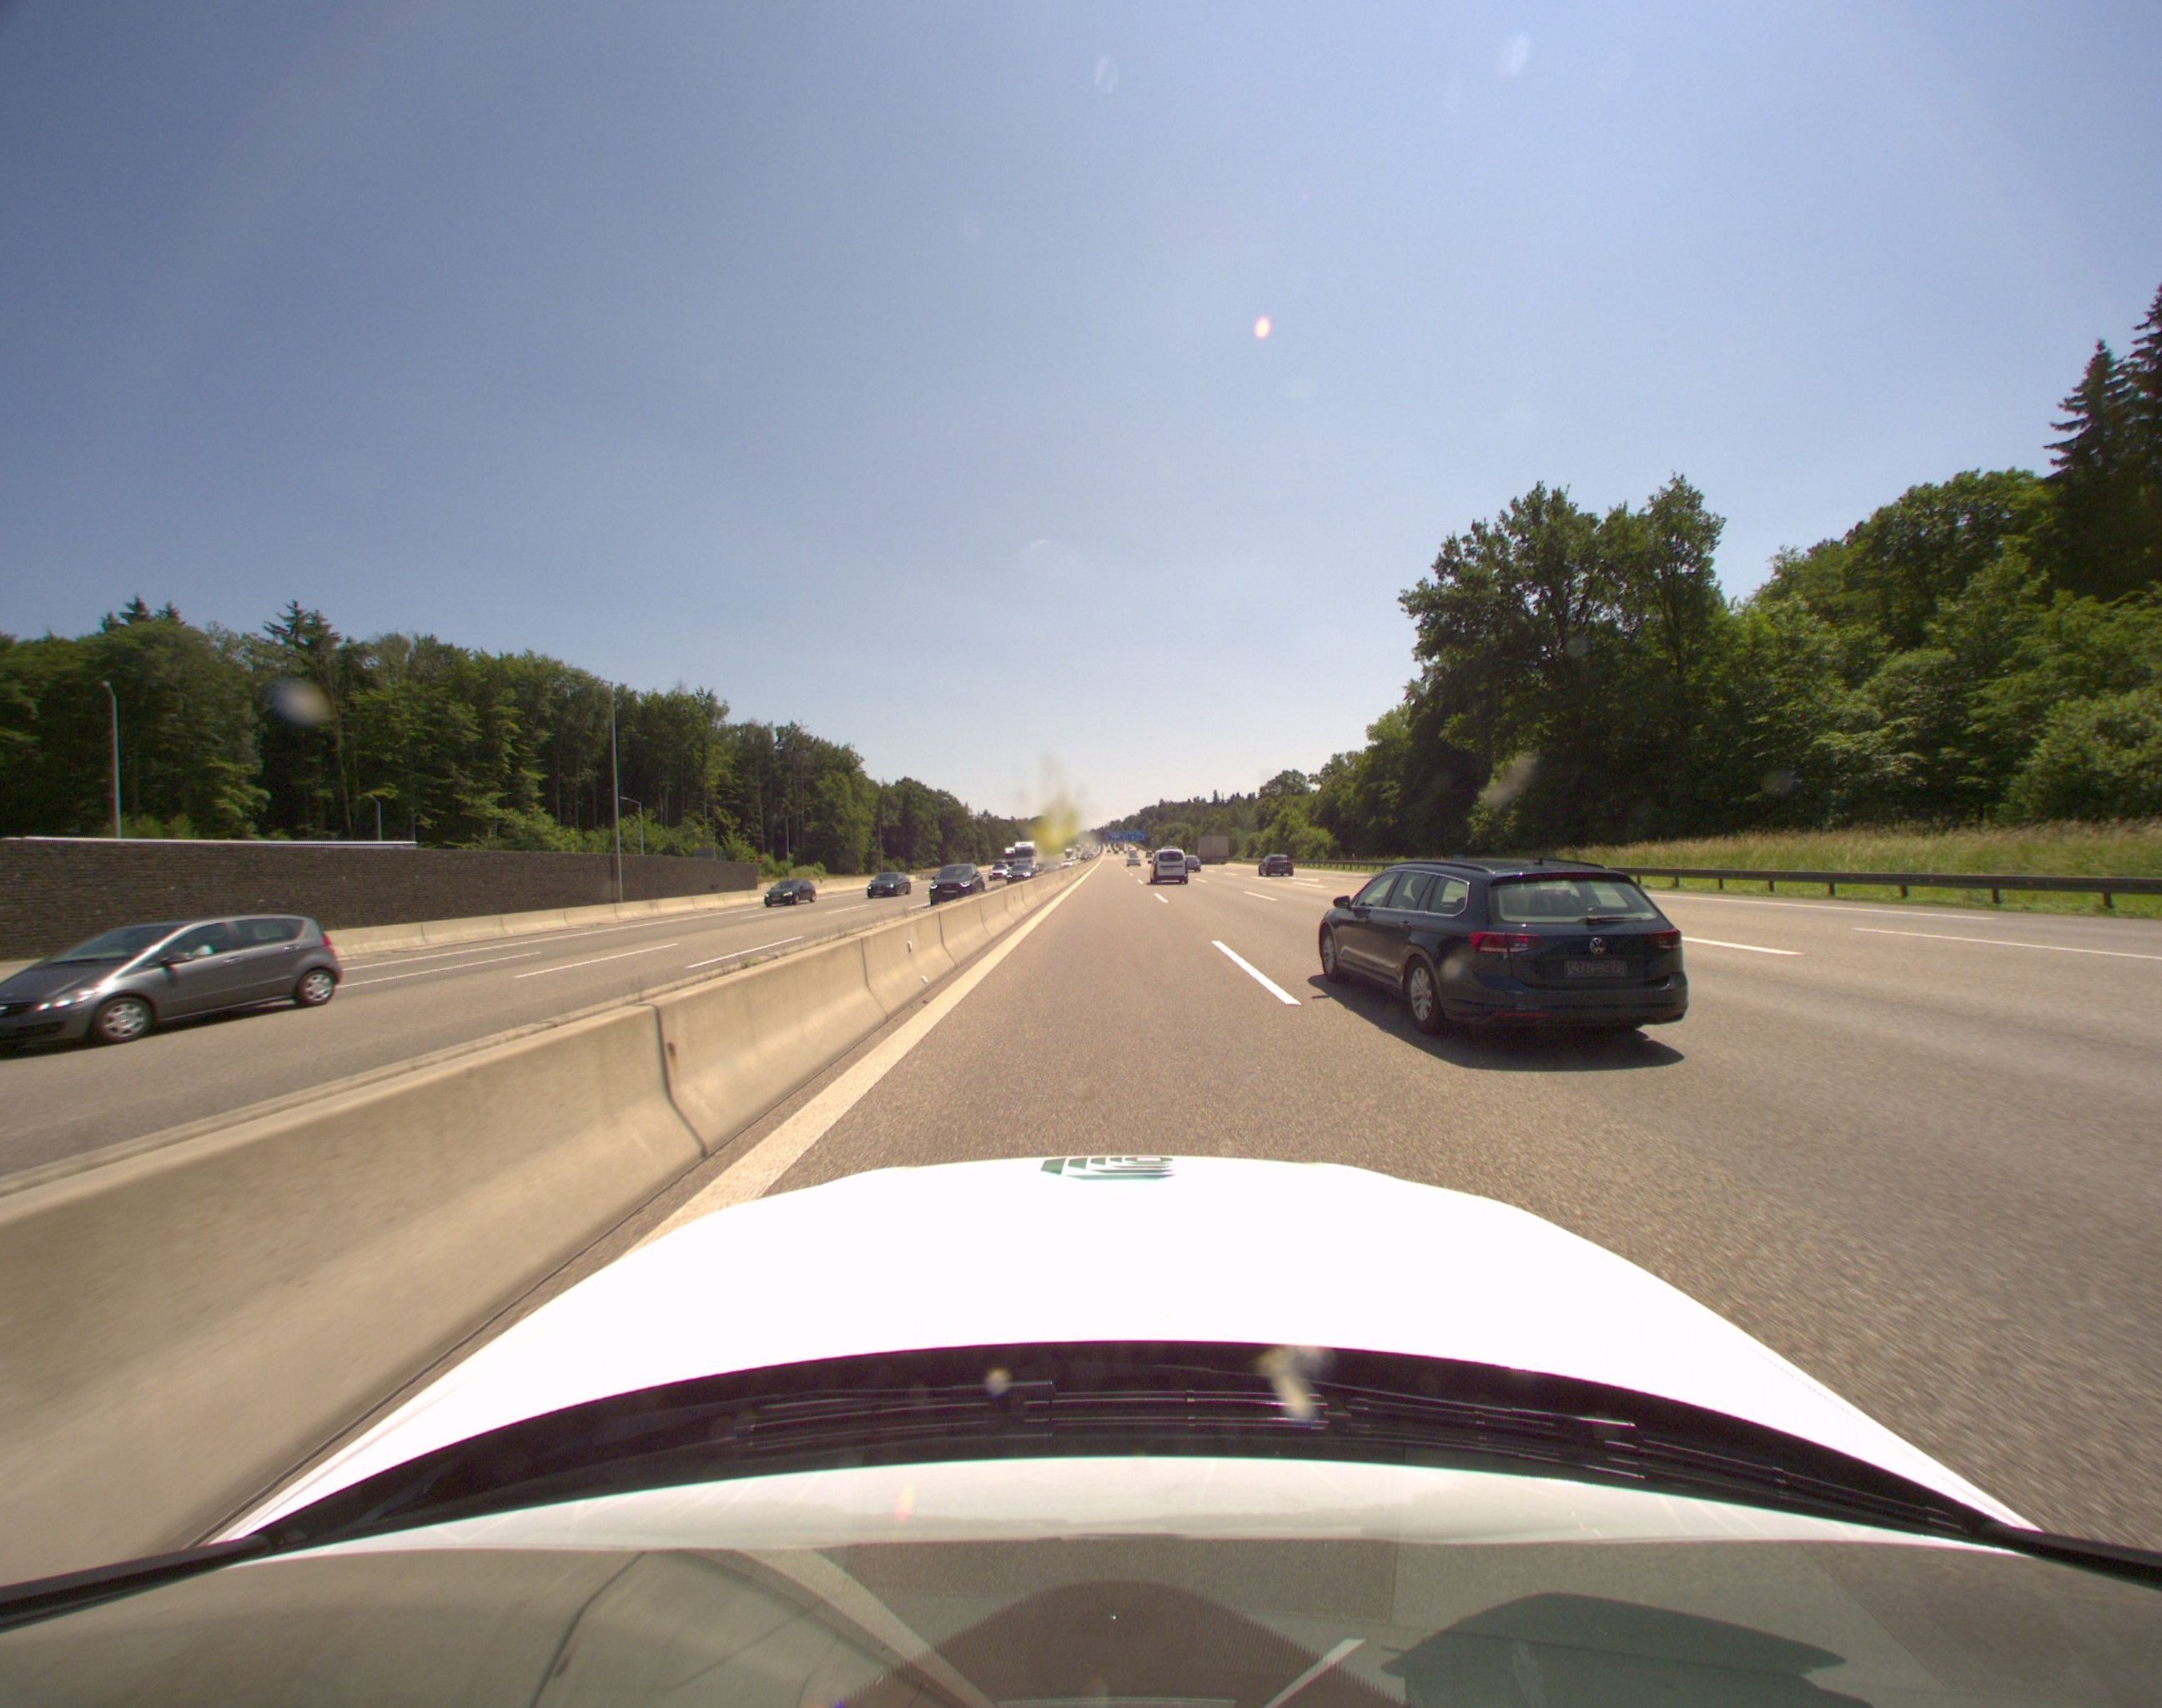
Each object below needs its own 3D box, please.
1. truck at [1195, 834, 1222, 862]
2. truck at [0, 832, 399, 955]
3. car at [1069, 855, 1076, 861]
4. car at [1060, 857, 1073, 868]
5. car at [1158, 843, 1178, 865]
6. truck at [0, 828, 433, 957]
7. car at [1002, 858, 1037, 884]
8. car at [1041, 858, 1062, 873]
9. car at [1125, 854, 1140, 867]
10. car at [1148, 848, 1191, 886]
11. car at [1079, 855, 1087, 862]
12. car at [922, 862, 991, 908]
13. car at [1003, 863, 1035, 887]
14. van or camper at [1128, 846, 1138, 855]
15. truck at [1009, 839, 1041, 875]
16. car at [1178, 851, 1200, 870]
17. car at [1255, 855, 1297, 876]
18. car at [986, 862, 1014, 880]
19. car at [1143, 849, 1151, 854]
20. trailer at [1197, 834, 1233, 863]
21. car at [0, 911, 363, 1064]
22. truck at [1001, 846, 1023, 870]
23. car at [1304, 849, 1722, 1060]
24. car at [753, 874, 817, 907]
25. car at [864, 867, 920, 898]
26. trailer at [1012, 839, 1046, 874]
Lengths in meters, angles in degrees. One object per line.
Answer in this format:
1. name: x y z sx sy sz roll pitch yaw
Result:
1. truck: 19.546 -0.960 125.302 3.242 4.106 5.990 -1 1 2
2. truck: -48.154 1.830 44.210 16.807 5.612 3.184 -3 0 -44
3. car: -2.582 1.100 235.875 1.754 1.464 4.841 -3 0 2
4. car: -2.152 1.196 118.635 1.742 1.457 4.156 -3 0 0
5. car: 11.131 -0.065 104.373 2.135 2.652 5.712 -2 1 2
6. truck: -44.791 1.631 42.496 16.807 5.612 3.408 -3 0 -44
7. car: -4.437 1.184 59.377 1.987 1.662 4.972 -4 0 1
8. car: -3.225 1.291 90.345 1.987 1.487 5.135 -3 0 0
9. car: 7.009 0.848 110.745 1.836 1.629 4.556 -3 0 2
10. car: 4.666 0.658 43.508 1.852 1.825 4.615 -3 0 2
11. car: 0.586 1.187 221.307 1.891 1.953 5.659 -3 0 2
12. car: -5.265 1.244 35.250 1.987 1.662 5.753 -4 0 0
13. car: -4.444 1.518 59.214 1.865 1.547 4.591 -3 0 0
14. van or camper: 15.731 -0.971 247.136 2.635 2.538 6.505 -3 0 2
15. truck: -6.973 0.355 102.382 3.036 4.136 6.951 -3 0 1
16. car: 9.306 0.558 70.370 1.498 1.500 3.651 -3 0 1
17. car: 12.866 0.725 53.921 1.666 1.273 4.287 -2 0 -2
18. car: -7.607 1.559 76.857 1.987 1.487 5.018 -4 0 0
19. car: 18.354 -0.650 225.952 1.829 1.338 3.644 -3 0 2
20. trailer: 19.421 -0.896 118.751 3.276 3.930 13.895 -1 1 1
21. car: -13.253 1.788 11.951 1.716 1.555 4.059 -3 0 1
22. truck: -12.658 0.719 150.348 2.825 4.197 10.597 -3 0 1
23. car: 3.680 0.699 8.149 1.723 1.447 4.964 -1 0 3
24. car: -16.697 2.021 46.118 1.987 1.621 4.214 -3 0 0
25. car: -11.594 1.709 50.354 1.987 1.621 5.755 -3 0 1
26. trailer: -6.782 0.335 109.471 3.012 4.225 14.472 -3 0 2
